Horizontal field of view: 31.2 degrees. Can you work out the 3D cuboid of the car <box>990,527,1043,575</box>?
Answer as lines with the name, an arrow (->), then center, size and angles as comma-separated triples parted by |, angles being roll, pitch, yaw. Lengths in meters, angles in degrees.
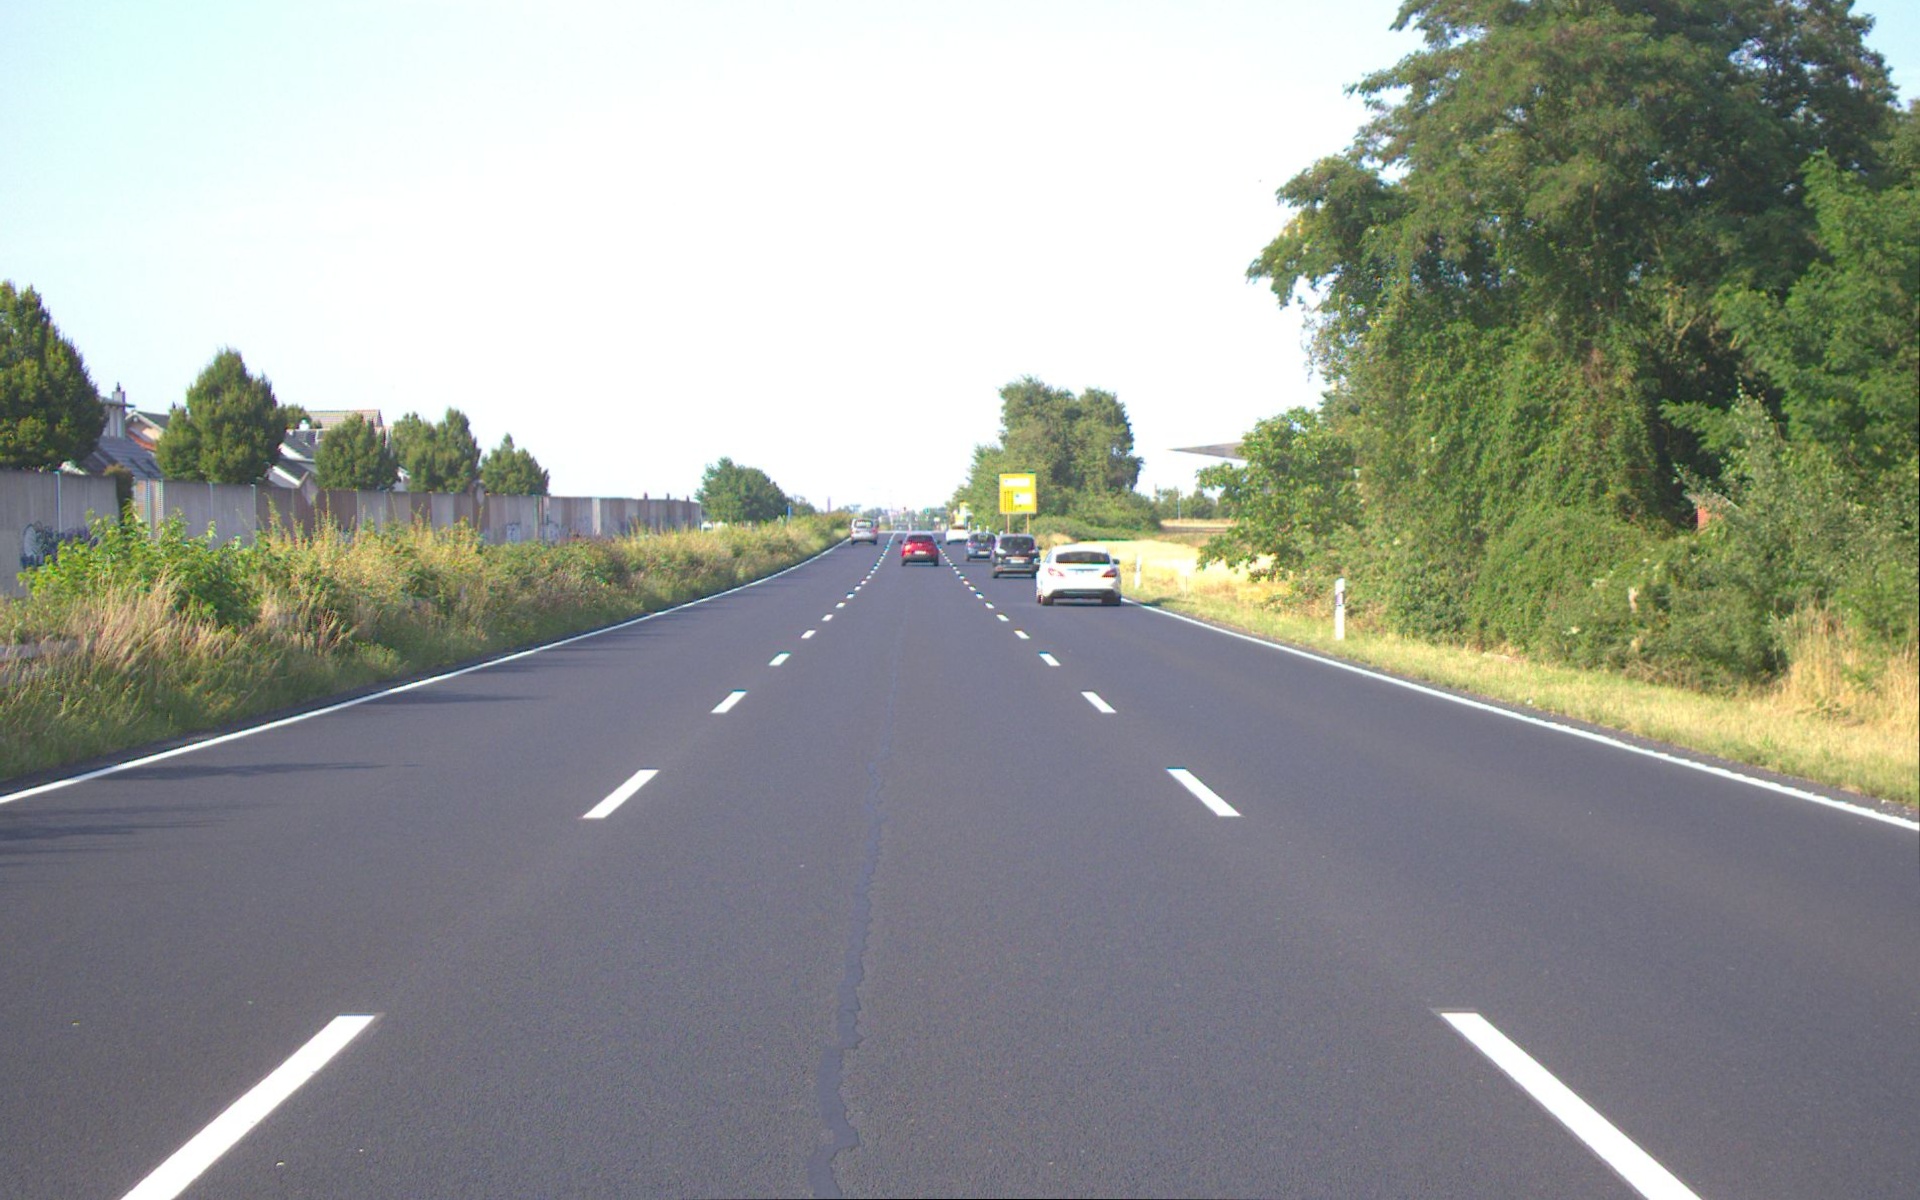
car -> 2.091, -1.817, 128.416 | 1.828, 1.722, 4.000 | 1, 0, -1

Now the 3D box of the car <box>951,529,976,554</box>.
car -> 0.248, -4.247, 250.803 | 1.847, 1.744, 4.000 | 1, 0, 0

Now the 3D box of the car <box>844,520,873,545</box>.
car -> -7.323, -4.855, 248.100 | 1.993, 1.711, 4.000 | 1, 0, -1

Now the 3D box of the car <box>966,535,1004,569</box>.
car -> 1.269, -2.458, 176.343 | 1.834, 1.711, 3.862 | 1, 0, 0

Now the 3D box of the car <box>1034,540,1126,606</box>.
car -> 2.838, -0.652, 82.222 | 1.993, 1.511, 4.000 | 1, 0, -1

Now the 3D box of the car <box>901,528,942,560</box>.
car -> -1.790, -2.613, 159.964 | 1.812, 1.431, 3.859 | 1, 0, -2
